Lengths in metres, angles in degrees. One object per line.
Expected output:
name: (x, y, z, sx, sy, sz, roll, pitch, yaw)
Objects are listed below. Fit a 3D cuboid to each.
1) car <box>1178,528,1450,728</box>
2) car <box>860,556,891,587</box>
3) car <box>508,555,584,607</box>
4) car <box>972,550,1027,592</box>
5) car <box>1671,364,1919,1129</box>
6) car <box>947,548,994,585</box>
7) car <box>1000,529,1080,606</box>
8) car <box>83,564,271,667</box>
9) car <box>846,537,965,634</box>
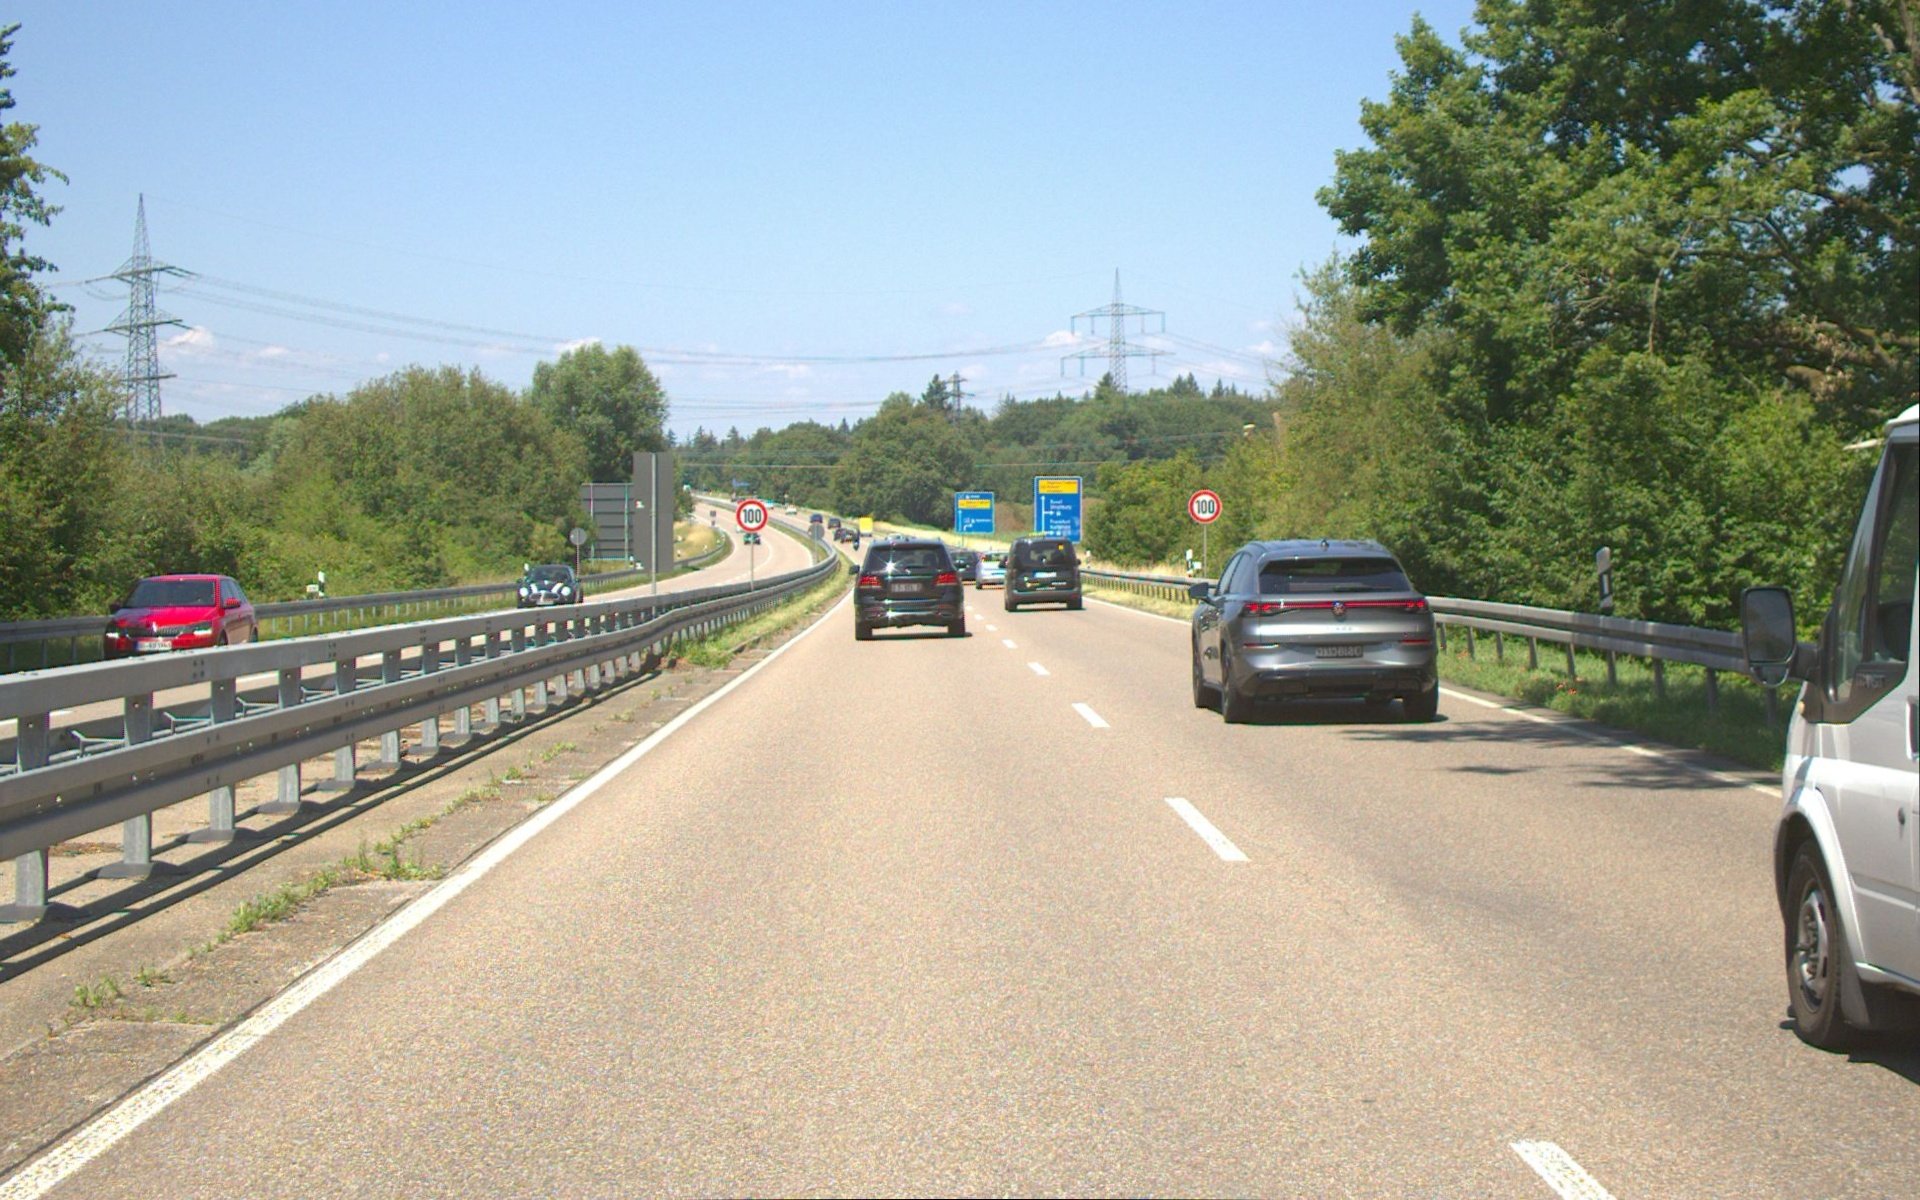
car: (3.013, 0.186, 30.019, 1.785, 1.548, 4.020, -2, 2, -2)
car: (-4.350, -1.475, 176.305, 1.514, 1.470, 3.067, 2, 2, -3)
car: (-12.224, -0.582, 101.703, 1.797, 1.463, 3.773, 1, 1, 0)
car: (1.487, -1.116, 130.944, 1.779, 1.474, 4.316, 2, 1, -3)
car: (3.474, 0.358, 8.897, 2.005, 1.982, 5.035, -2, 1, -2)
car: (0.414, -1.413, 143.718, 1.819, 1.409, 4.001, -1, 2, -1)
car: (1.949, -0.822, 84.964, 1.779, 1.810, 4.213, -1, 2, -1)
car: (-11.432, 0.191, 50.454, 1.776, 1.414, 4.576, -1, 1, -1)
car: (-0.999, -0.281, 60.698, 1.993, 1.649, 4.001, 0, 1, -3)
